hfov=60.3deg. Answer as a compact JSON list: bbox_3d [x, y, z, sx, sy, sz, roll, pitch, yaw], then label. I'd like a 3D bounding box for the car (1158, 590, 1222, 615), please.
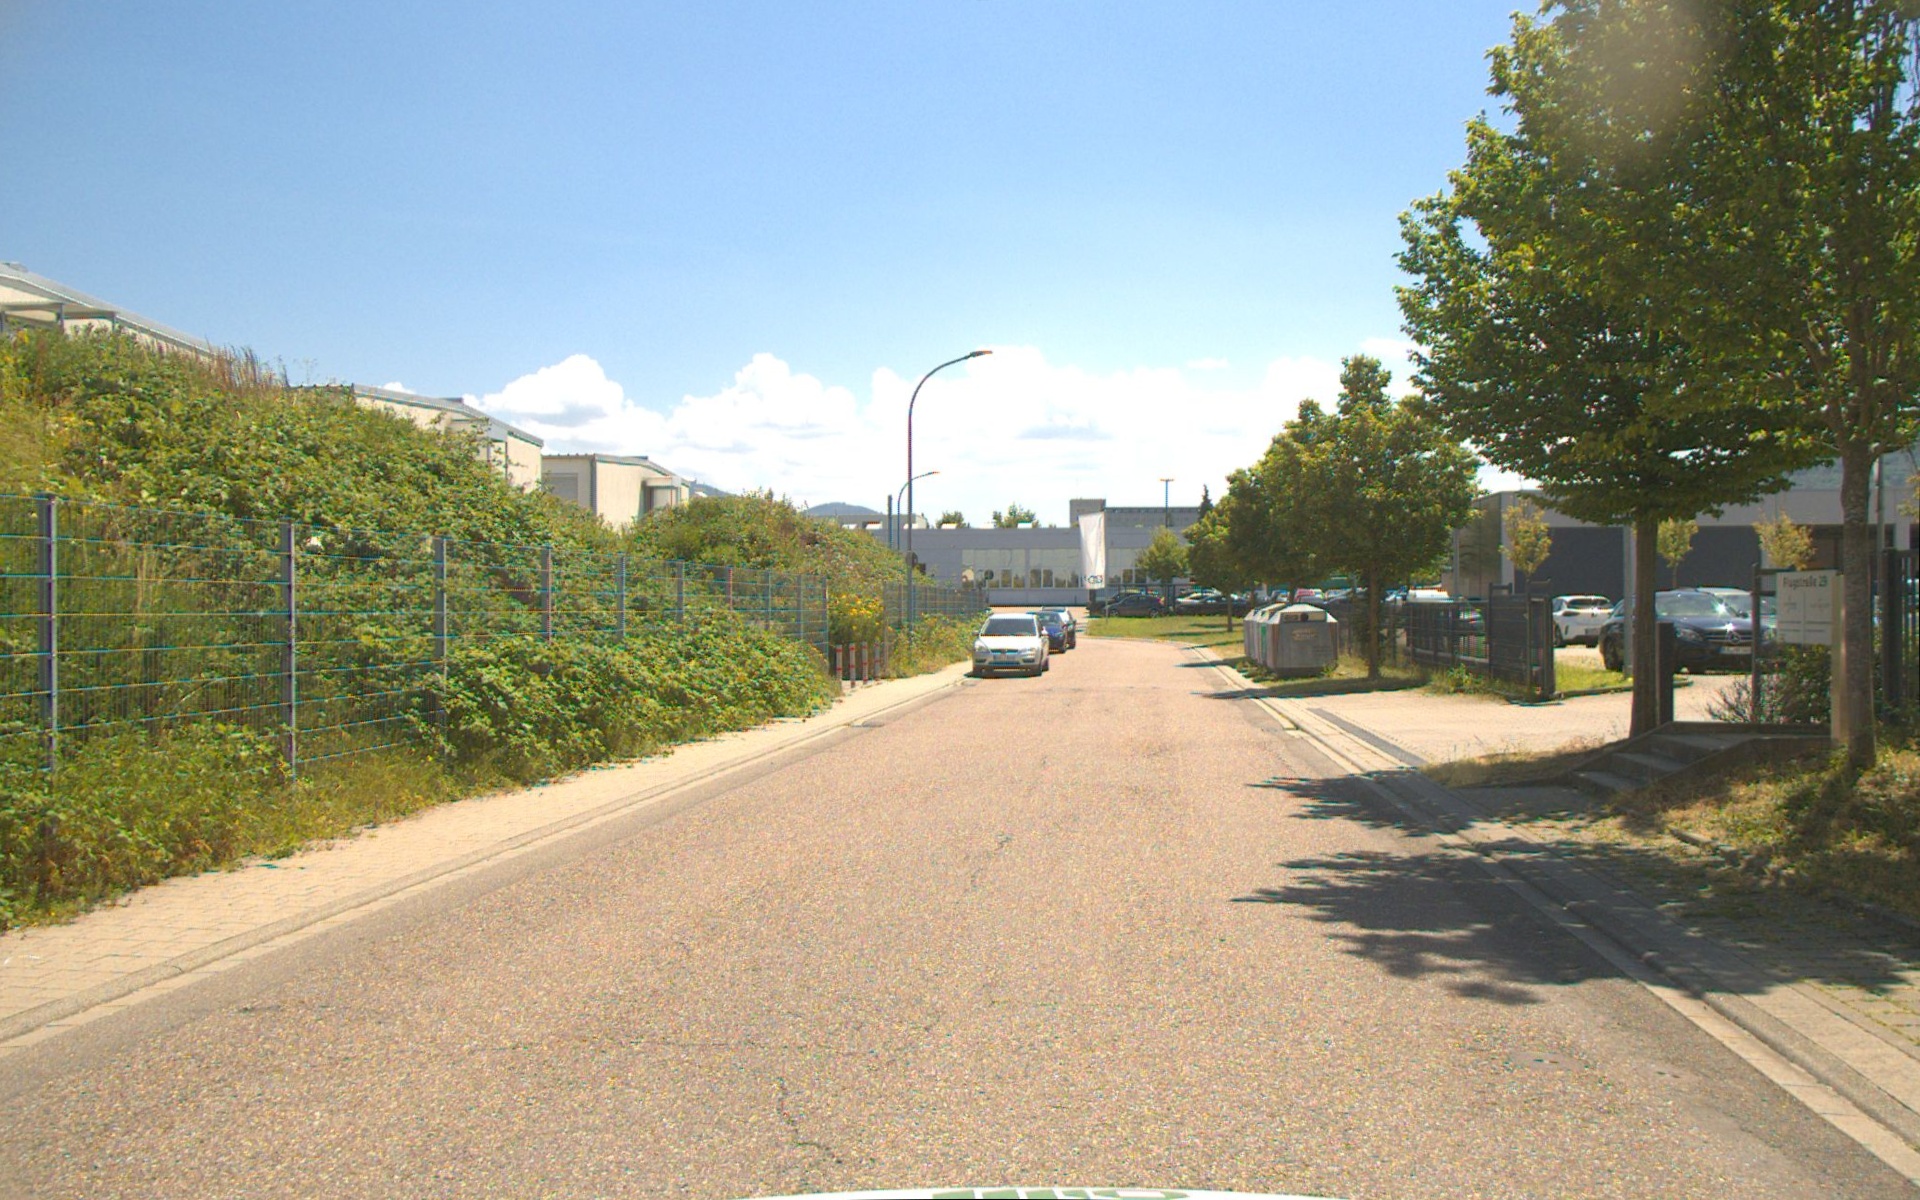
[{"bbox_3d":[14.652,0.180,105.619,3.903,1.423,2.001,-1,-2,4],"label":"car"}]

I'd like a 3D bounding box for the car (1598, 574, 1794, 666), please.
[{"bbox_3d":[13.025,0.415,29.577,1.752,1.480,4.411,-1,-2,4],"label":"car"}]

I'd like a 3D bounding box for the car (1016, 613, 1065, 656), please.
[{"bbox_3d":[2.917,1.209,59.344,1.621,1.442,4.147,-2,-1,4],"label":"car"}]

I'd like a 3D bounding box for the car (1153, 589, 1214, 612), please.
[{"bbox_3d":[15.056,0.039,111.559,3.903,1.423,2.001,-1,-2,4],"label":"car"}]

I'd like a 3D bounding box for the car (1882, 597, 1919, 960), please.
[{"bbox_3d":[5.902,0.651,6.144,3.903,1.521,1.725,-2,-2,4],"label":"car"}]

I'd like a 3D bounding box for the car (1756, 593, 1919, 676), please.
[{"bbox_3d":[18.357,0.672,34.676,1.611,1.518,4.026,-1,2,4],"label":"car"}]

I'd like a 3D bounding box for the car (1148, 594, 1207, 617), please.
[{"bbox_3d":[15.002,0.413,114.385,3.903,1.423,2.001,-1,-2,4],"label":"car"}]

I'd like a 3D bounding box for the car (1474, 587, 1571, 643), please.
[{"bbox_3d":[17.459,0.426,51.508,1.752,1.557,4.425,-1,1,4],"label":"car"}]

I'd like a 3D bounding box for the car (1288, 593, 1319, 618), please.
[{"bbox_3d":[27.307,0.458,131.531,1.951,1.859,4.002,-1,-2,6],"label":"car"}]

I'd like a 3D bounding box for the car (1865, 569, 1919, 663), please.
[{"bbox_3d":[18.078,0.264,29.245,1.801,1.682,4.652,-1,-2,4],"label":"car"}]

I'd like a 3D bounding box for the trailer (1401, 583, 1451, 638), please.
[{"bbox_3d":[18.948,0.400,67.357,1.461,2.041,3.267,-2,2,8],"label":"trailer"}]

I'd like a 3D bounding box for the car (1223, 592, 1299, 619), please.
[{"bbox_3d":[18.192,0.342,100.081,4.344,1.423,2.001,-1,-2,4],"label":"car"}]

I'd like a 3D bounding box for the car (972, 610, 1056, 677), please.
[{"bbox_3d":[1.439,1.073,42.338,1.795,1.573,4.370,-2,-1,6],"label":"car"}]

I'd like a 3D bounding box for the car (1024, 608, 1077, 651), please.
[{"bbox_3d":[3.587,1.132,64.635,1.795,1.573,4.267,-2,-1,6],"label":"car"}]

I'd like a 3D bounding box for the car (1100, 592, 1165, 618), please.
[{"bbox_3d":[10.547,0.313,101.249,3.903,1.423,2.001,-1,-2,4],"label":"car"}]

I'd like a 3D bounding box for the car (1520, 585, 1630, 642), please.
[{"bbox_3d":[17.150,0.413,46.289,1.752,1.458,4.144,-1,-2,4],"label":"car"}]
